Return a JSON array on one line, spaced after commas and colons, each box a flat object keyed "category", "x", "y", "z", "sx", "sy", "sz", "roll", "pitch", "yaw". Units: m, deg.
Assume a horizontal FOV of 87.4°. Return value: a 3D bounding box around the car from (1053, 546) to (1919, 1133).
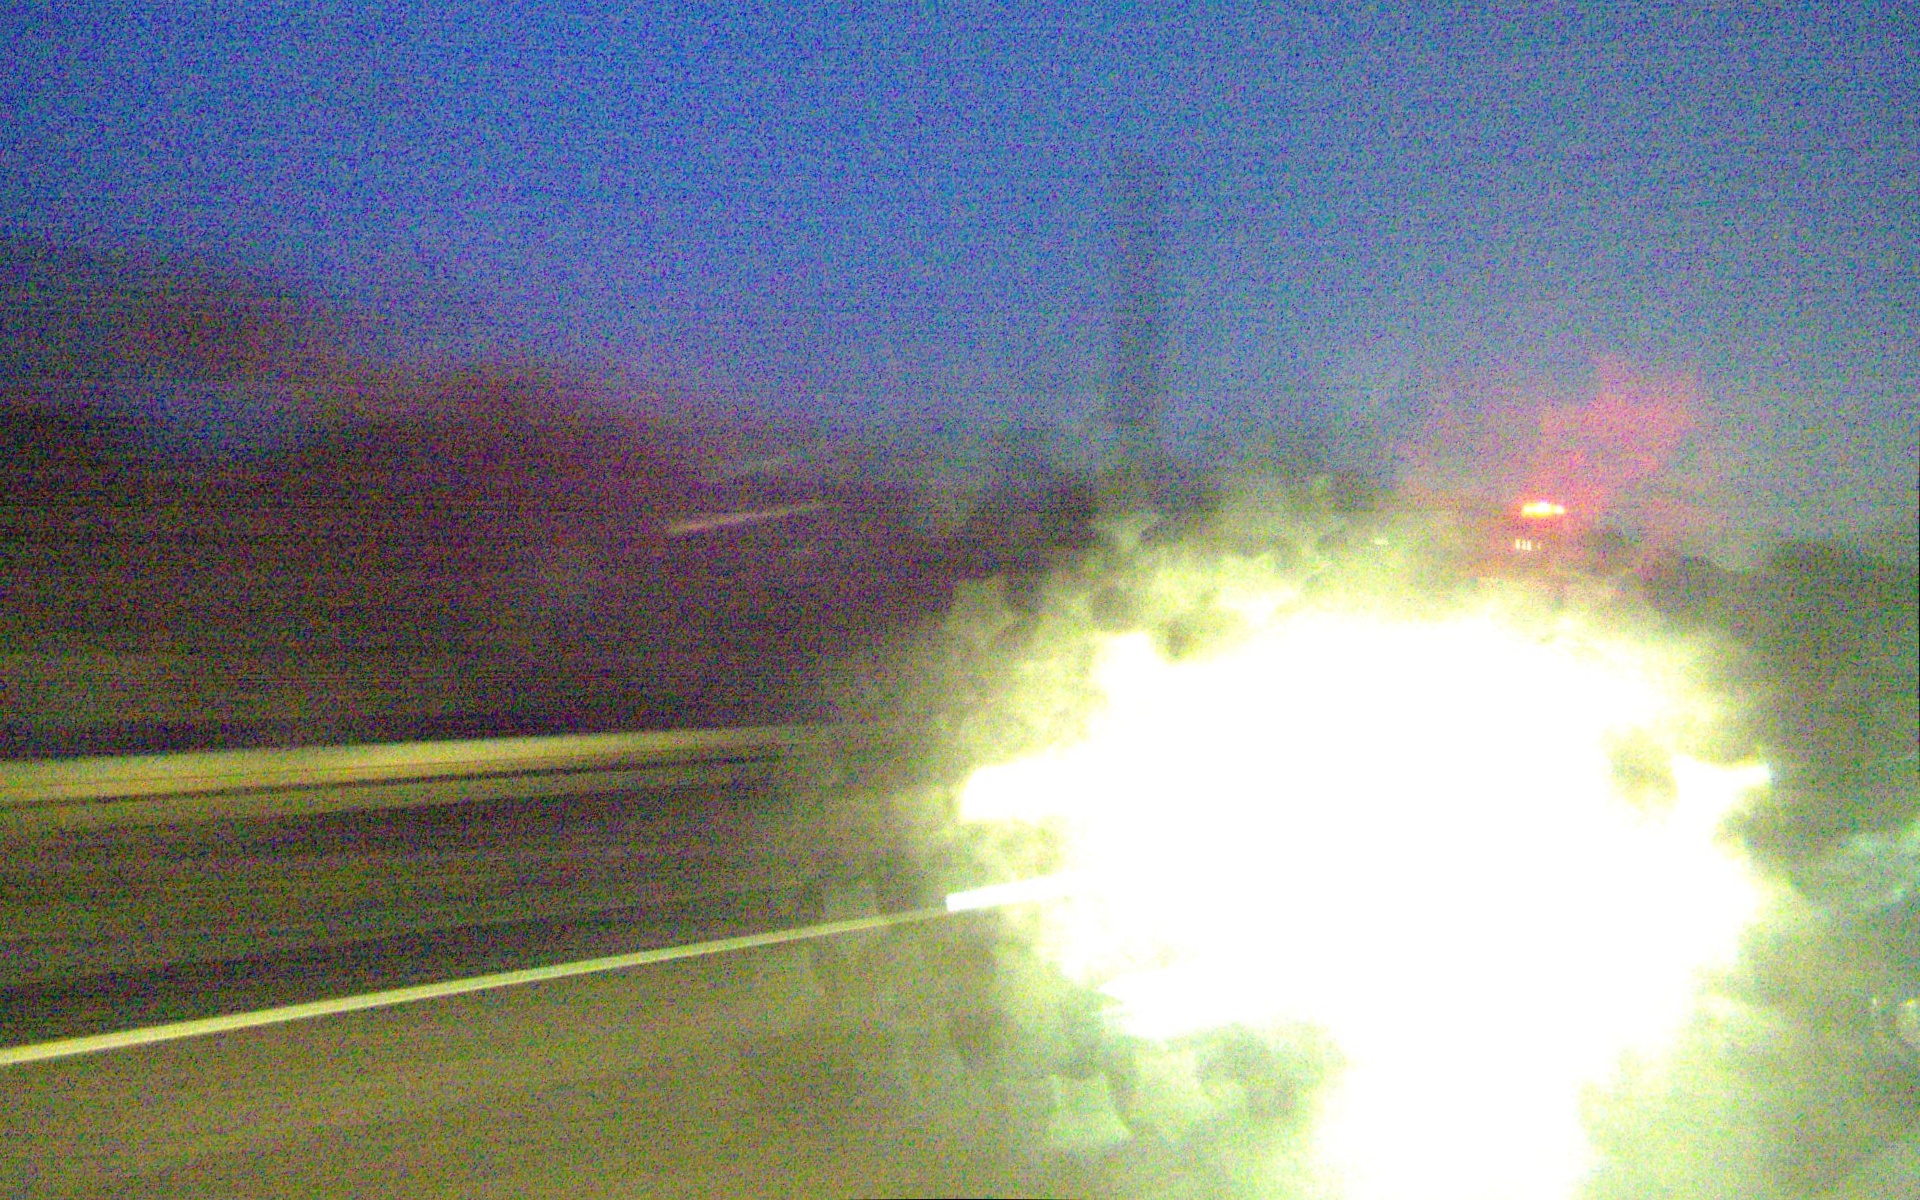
[{"category": "car", "x": 2.605, "y": 0.722, "z": 4.734, "sx": 3.980, "sy": 1.667, "sz": 1.910, "roll": 1, "pitch": -1, "yaw": -32}]
